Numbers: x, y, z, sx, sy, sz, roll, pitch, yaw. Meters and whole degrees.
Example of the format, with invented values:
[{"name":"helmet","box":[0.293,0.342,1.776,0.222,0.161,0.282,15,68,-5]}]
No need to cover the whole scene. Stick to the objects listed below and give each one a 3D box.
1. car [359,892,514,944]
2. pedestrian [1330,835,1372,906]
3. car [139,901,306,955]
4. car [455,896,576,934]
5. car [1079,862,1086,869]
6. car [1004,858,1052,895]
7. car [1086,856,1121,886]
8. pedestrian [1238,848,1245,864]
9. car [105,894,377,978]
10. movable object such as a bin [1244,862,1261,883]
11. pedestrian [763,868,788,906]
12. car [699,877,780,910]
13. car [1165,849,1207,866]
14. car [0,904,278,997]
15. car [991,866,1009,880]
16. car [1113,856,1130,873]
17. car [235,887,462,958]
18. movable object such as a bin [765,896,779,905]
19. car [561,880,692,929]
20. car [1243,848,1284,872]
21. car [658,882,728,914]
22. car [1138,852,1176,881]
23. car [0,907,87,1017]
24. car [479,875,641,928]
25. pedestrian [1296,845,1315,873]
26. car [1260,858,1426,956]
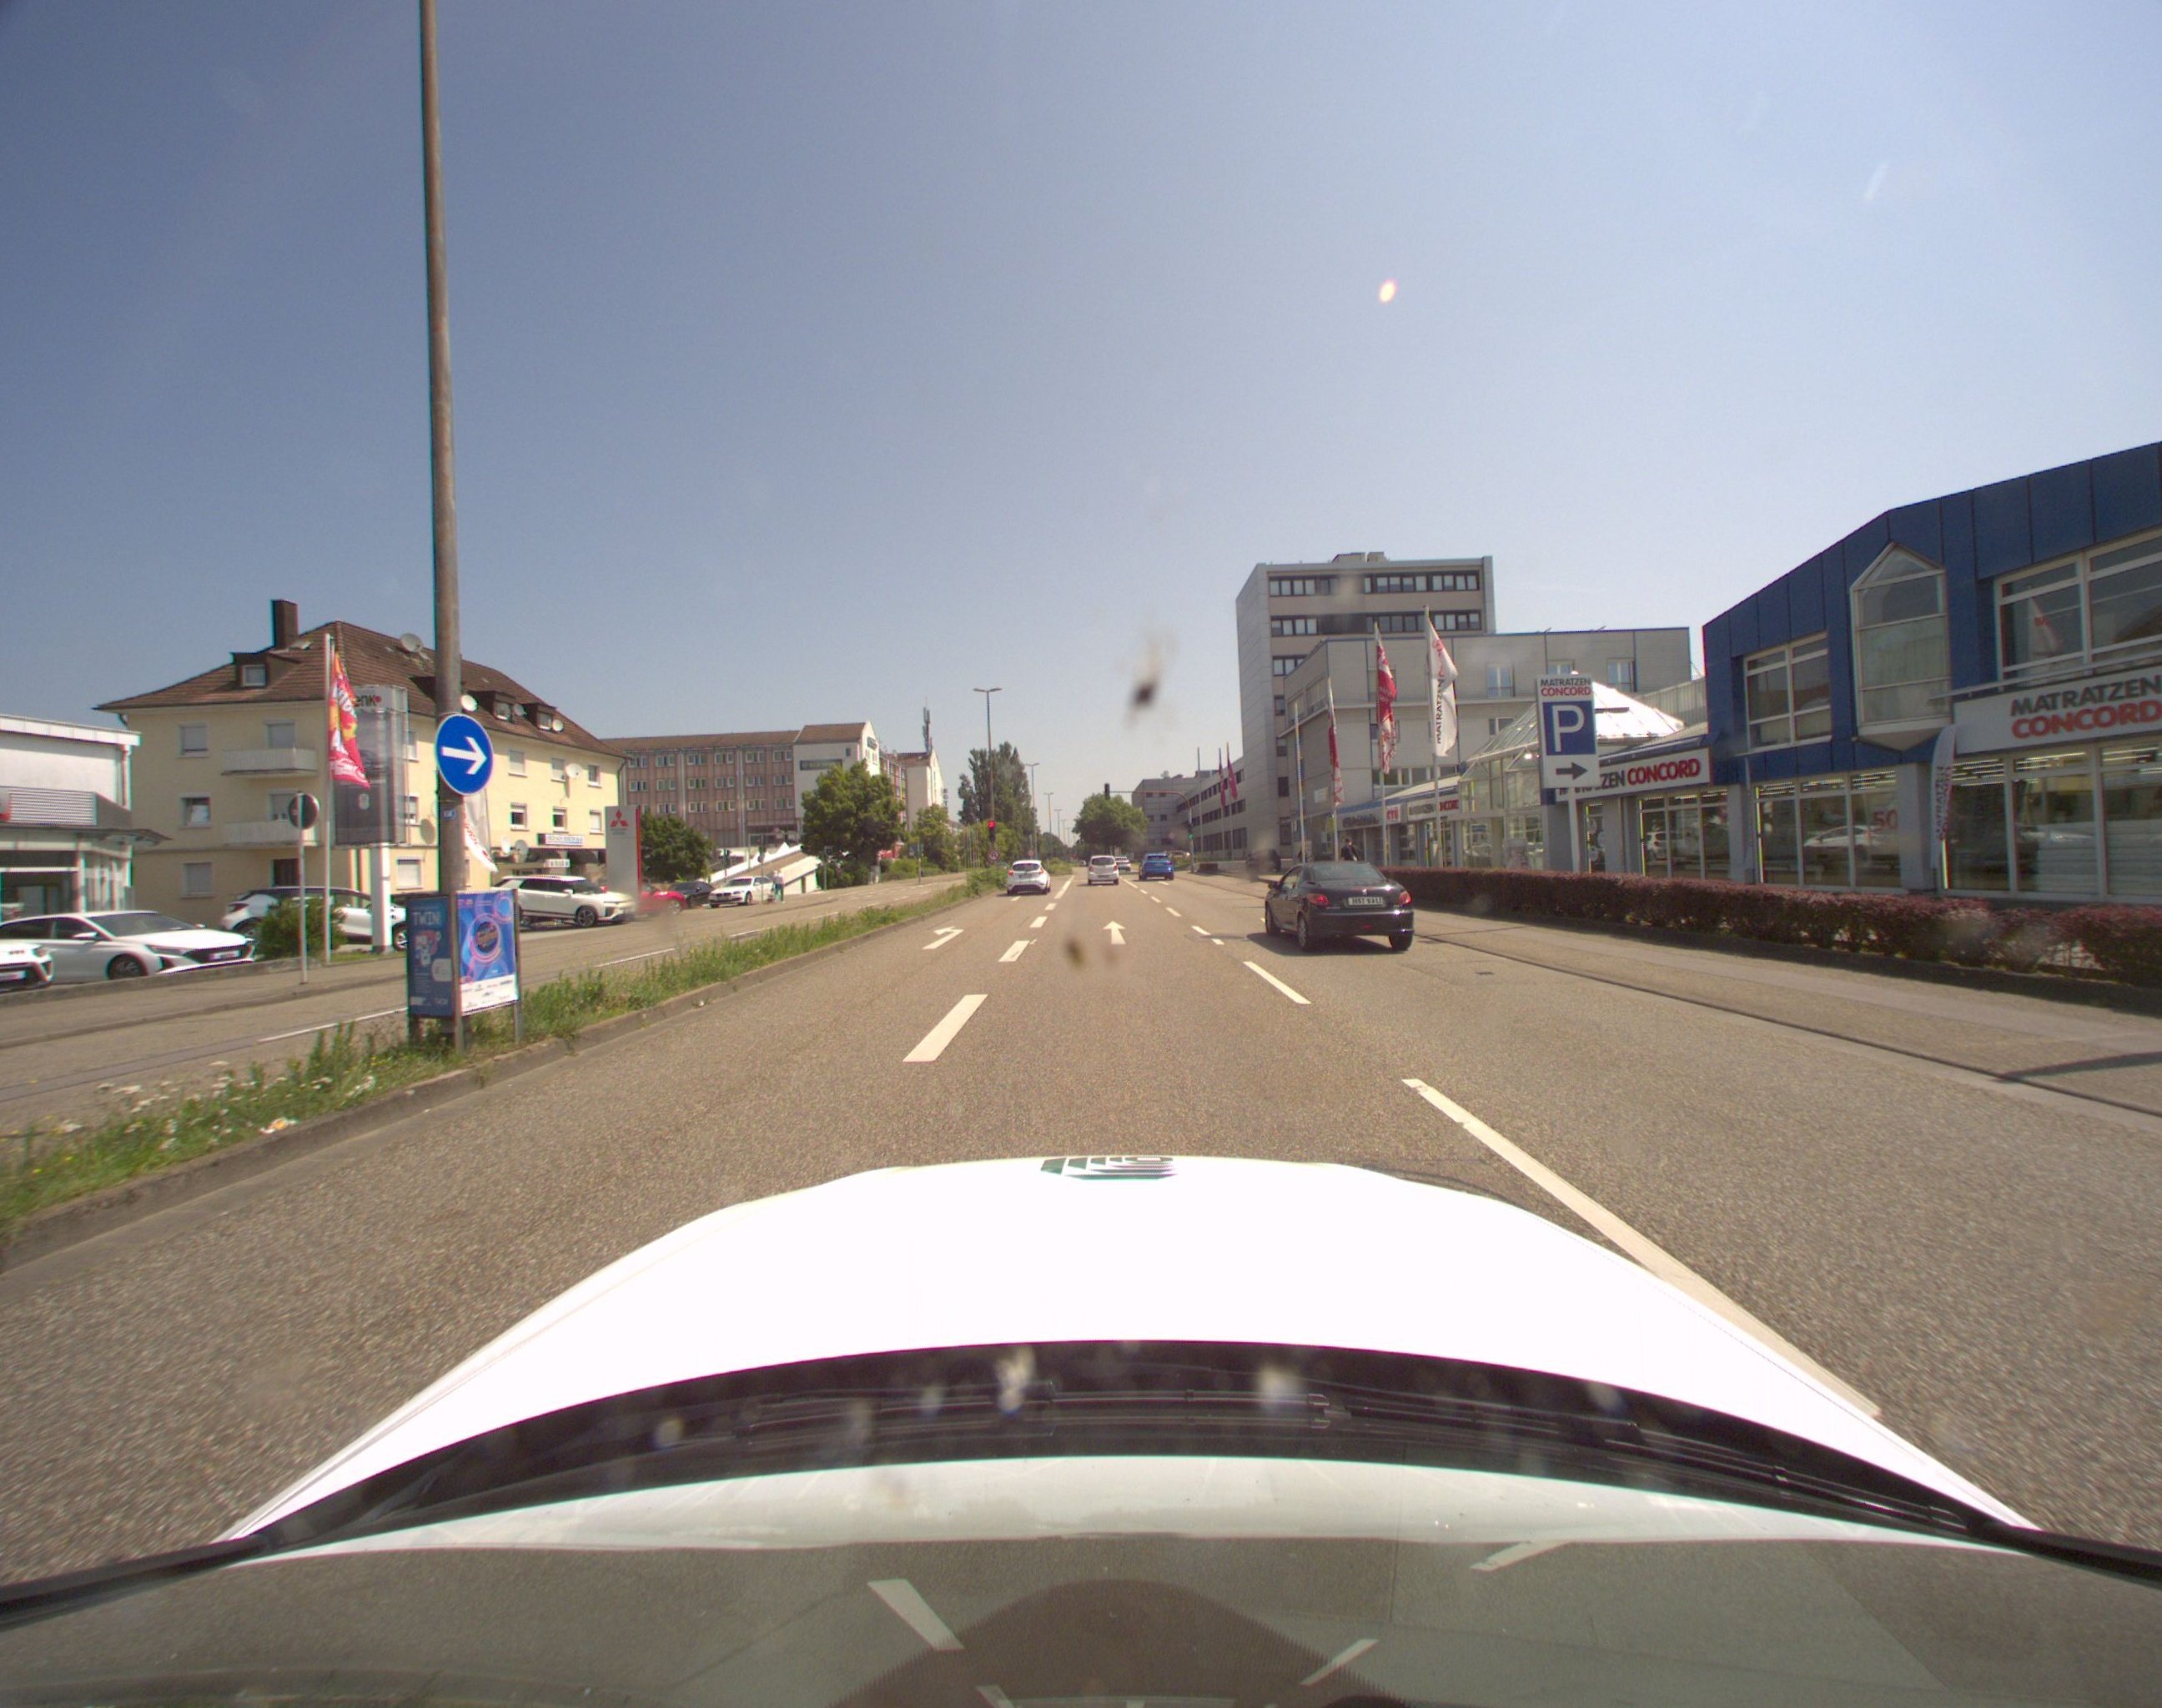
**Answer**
[{"name":"car","box":[-23.040,2.268,29.207,3.974,1.530,1.865,-3,-1,-1]},{"name":"pedestrian","box":[7.309,0.452,22.093,0.782,1.847,0.937,-3,-1,3]},{"name":"car","box":[-30.991,2.643,29.480,3.974,1.615,1.865,-3,-1,-1]},{"name":"car","box":[-24.429,2.623,35.359,1.631,1.252,4.021,-3,0,21]},{"name":"car","box":[0.437,3.269,231.626,1.814,1.662,3.998,-3,-1,-1]},{"name":"car","box":[-2.225,0.944,35.041,1.683,1.434,3.711,-3,0,1]},{"name":"car","box":[1.203,0.869,43.628,1.742,1.520,3.747,-1,0,2]},{"name":"pedestrian","box":[16.176,0.186,82.240,0.589,1.634,0.524,-3,-1,8]},{"name":"car","box":[-18.235,1.750,17.831,3.976,1.467,1.759,-3,-1,-2]},{"name":"movable object such as a bin","box":[7.814,0.833,37.057,0.549,0.919,0.653,-6,-1,1]},{"name":"pedestrian","box":[-14.863,1.585,39.625,0.737,1.747,1.034,-3,-1,3]},{"name":"car","box":[-17.181,1.960,41.250,1.768,1.410,4.763,-3,0,3]},{"name":"car","box":[11.687,0.405,90.411,4.251,1.689,1.997,-3,0,-5]},{"name":"car","box":[-18.192,1.791,15.430,3.976,1.394,1.859,-3,0,-2]},{"name":"car","box":[-10.027,2.354,101.269,1.989,1.486,4.496,-3,0,-3]},{"name":"car","box":[3.924,0.966,78.023,1.553,1.520,3.608,-3,0,3]},{"name":"car","box":[-18.277,1.673,20.615,4.016,1.624,1.740,2,-4,-35]},{"name":"movable object such as a bin","box":[-14.870,2.222,39.207,0.415,0.372,0.507,-3,0,1]},{"name":"car","box":[-18.366,2.010,33.050,1.816,1.642,4.205,-3,-1,38]},{"name":"car","box":[12.336,0.418,55.275,1.838,1.531,4.196,-1,0,0]},{"name":"car","box":[-19.777,2.233,41.702,1.728,1.351,3.996,-3,0,-2]},{"name":"car","box":[4.467,0.747,48.289,1.822,1.580,3.604,-3,0,0]},{"name":"car","box":[-18.453,1.770,12.462,3.976,1.608,1.924,-3,-1,-2]},{"name":"car","box":[-18.323,1.654,28.785,4.533,1.709,1.759,-1,-1,-2]},{"name":"pedestrian","box":[13.102,0.294,47.579,0.806,1.627,0.853,-3,-1,3]},{"name":"car","box":[4.194,0.774,13.616,1.621,1.364,3.605,-2,0,1]}]
